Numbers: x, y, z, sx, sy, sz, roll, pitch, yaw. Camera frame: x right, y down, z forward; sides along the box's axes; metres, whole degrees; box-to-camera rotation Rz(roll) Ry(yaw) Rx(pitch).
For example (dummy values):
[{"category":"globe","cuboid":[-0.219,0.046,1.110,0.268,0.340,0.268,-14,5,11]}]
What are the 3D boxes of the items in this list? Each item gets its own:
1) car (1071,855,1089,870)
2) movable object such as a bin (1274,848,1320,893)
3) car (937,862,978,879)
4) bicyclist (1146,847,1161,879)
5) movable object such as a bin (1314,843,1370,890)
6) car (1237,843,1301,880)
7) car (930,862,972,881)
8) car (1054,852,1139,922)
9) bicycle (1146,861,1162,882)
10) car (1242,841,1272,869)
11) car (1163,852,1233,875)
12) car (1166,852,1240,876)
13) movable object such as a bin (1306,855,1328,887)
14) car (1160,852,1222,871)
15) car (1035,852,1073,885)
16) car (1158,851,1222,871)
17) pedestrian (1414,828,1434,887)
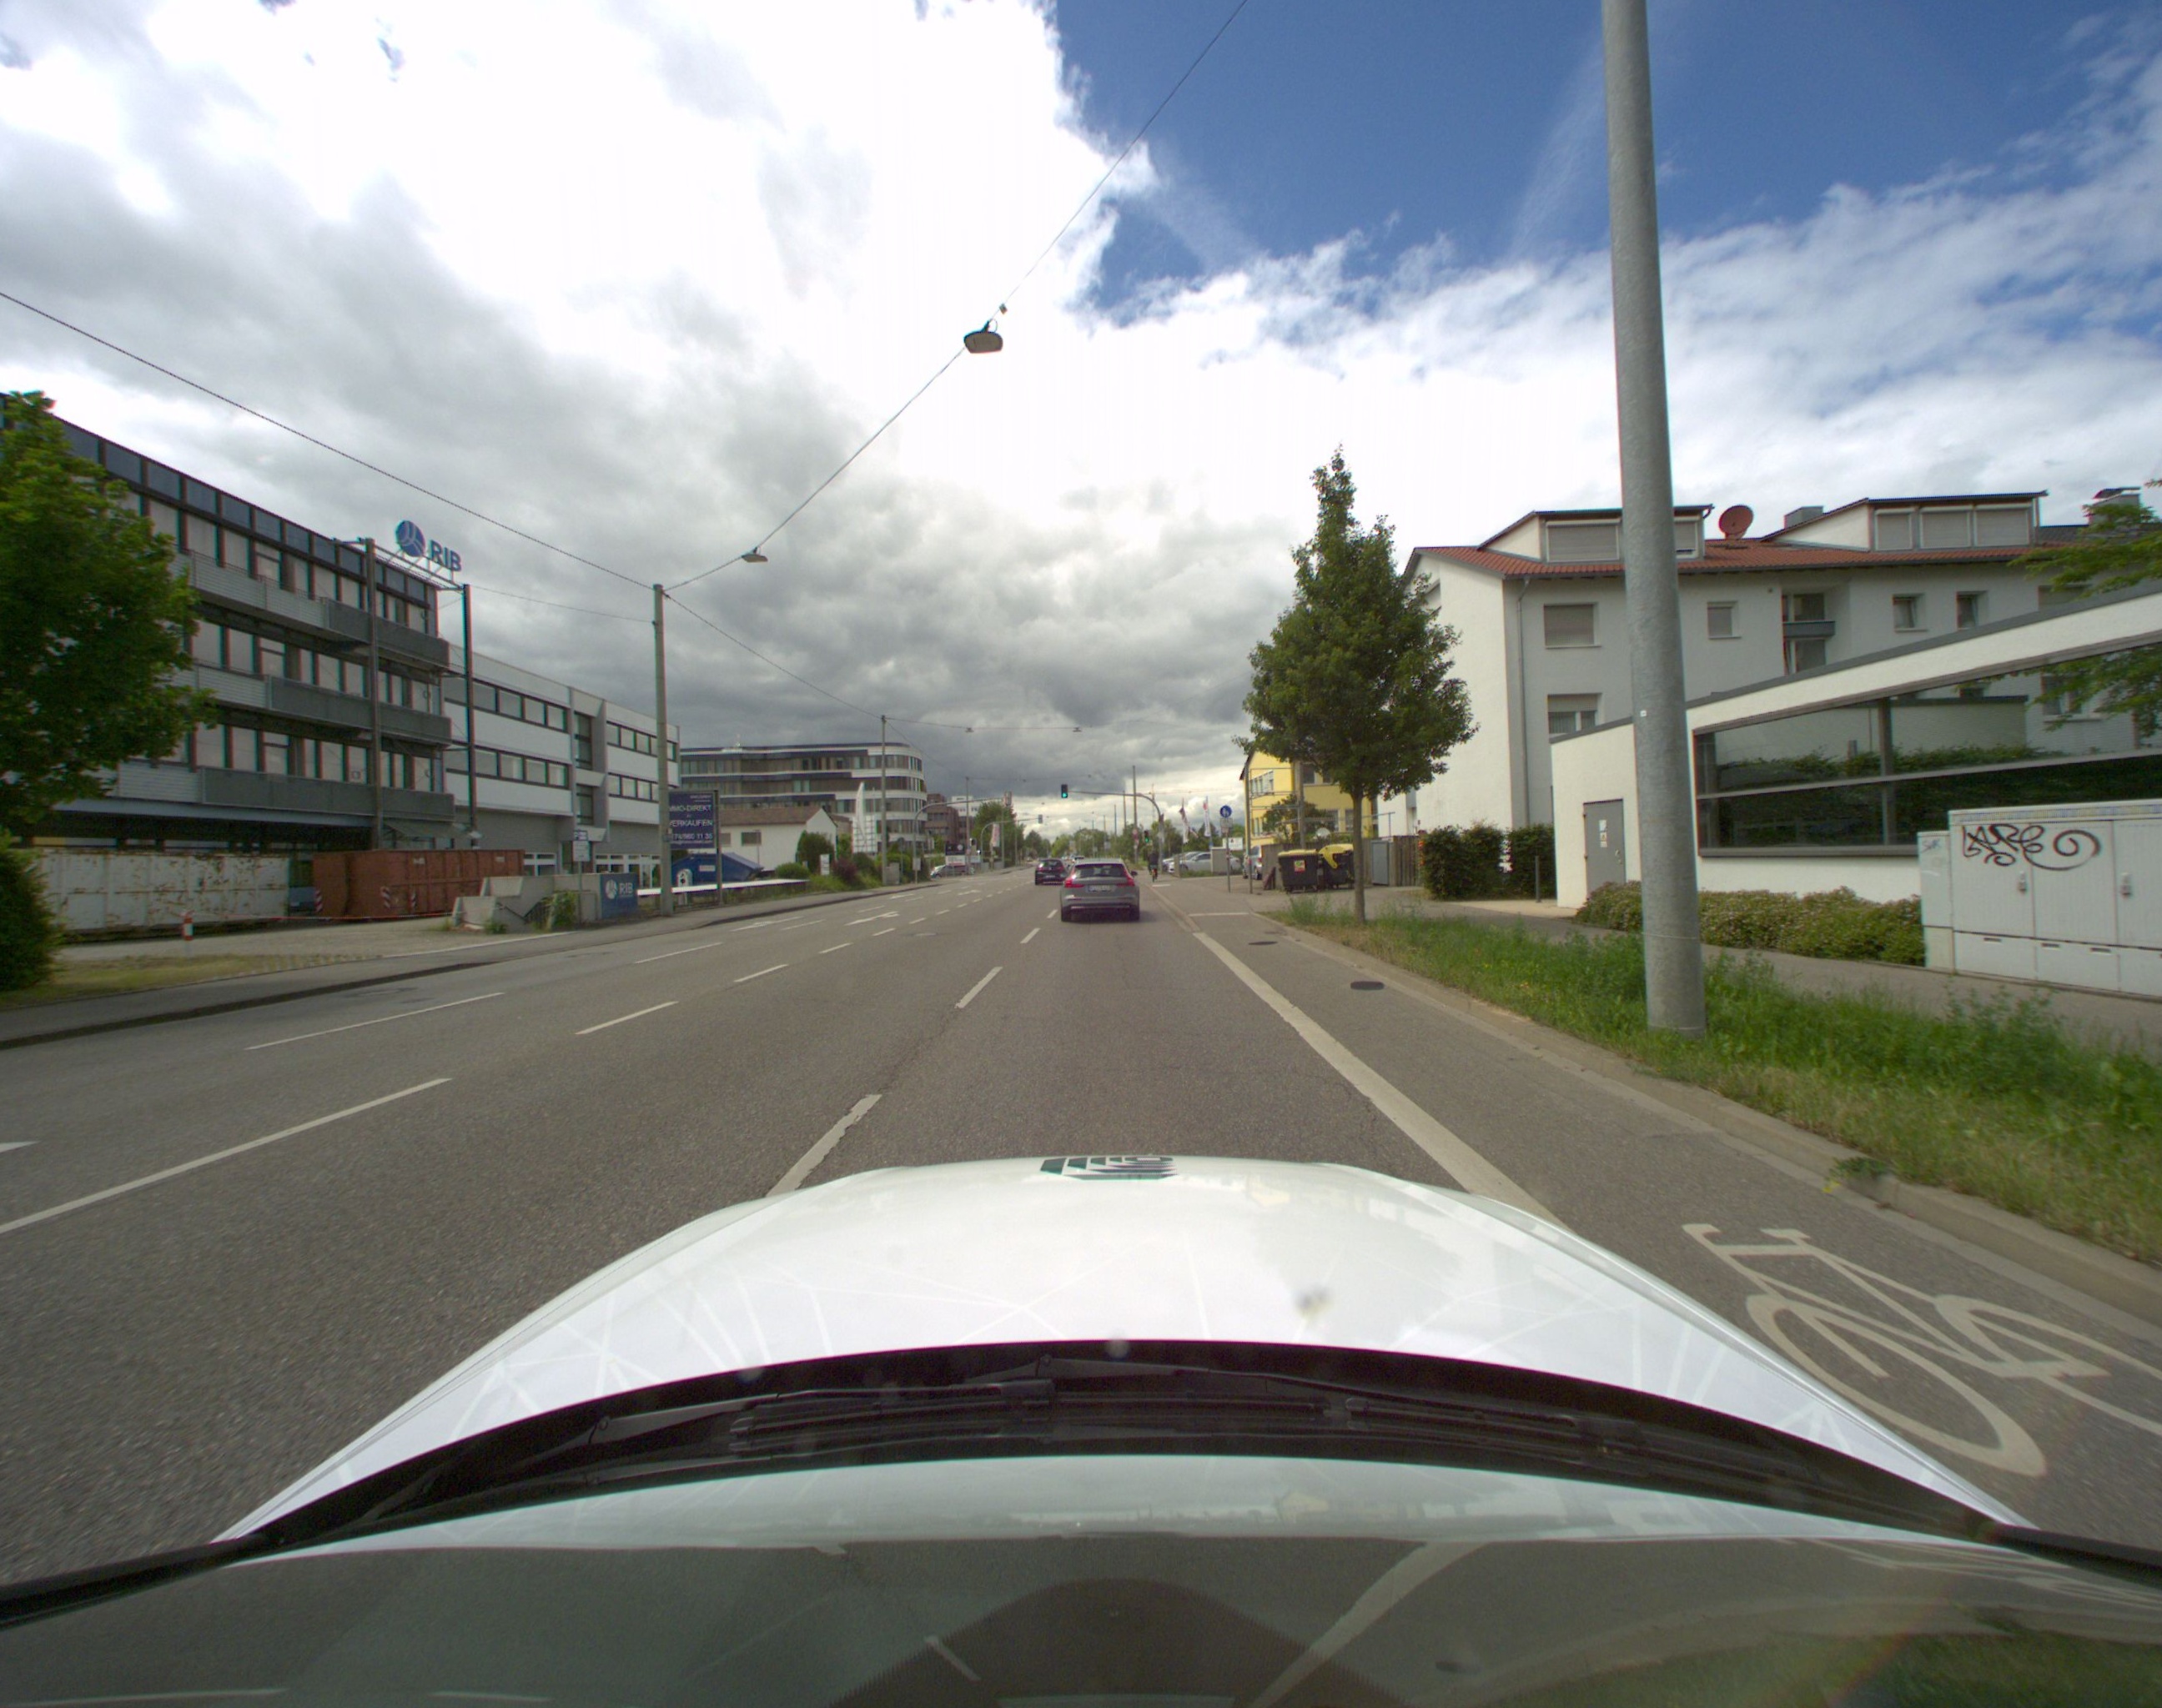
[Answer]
[{"category":"car","cuboid":[-0.123,1.001,93.346,1.987,1.695,4.000,0,-1,0]},{"category":"movable object such as a bin","cuboid":[6.887,0.520,25.901,1.308,1.361,1.257,-2,-2,17]},{"category":"car","cuboid":[-13.818,1.836,91.182,4.217,1.387,1.981,-8,-1,-5]},{"category":"bicyclist","cuboid":[3.880,0.481,43.649,0.636,1.675,0.890,-5,-1,1]},{"category":"movable object such as a bin","cuboid":[8.423,0.416,26.225,1.306,1.435,1.259,-3,-2,38]},{"category":"car","cuboid":[8.628,0.335,37.779,1.869,1.545,4.521,-2,0,0]},{"category":"car","cuboid":[-13.731,1.850,86.050,4.089,1.397,1.904,-8,1,-7]},{"category":"car","cuboid":[0.442,0.776,20.195,1.888,1.554,4.002,0,-1,3]},{"category":"bicycle","cuboid":[3.924,0.933,43.771,0.635,1.063,1.978,-5,0,1]},{"category":"car","cuboid":[12.435,0.136,57.772,1.963,1.821,5.045,-3,-1,11]},{"category":"car","cuboid":[8.270,0.640,57.875,4.643,1.493,2.035,-1,0,0]},{"category":"car","cuboid":[8.217,0.643,54.999,4.681,1.493,2.045,-1,0,0]},{"category":"movable object such as a bin","cuboid":[7.762,0.556,26.786,0.561,1.026,0.408,-3,-2,38]},{"category":"car","cuboid":[8.206,0.562,60.769,4.356,1.404,1.988,0,0,-1]},{"category":"car","cuboid":[-1.465,0.780,44.663,1.988,1.717,3.998,0,-1,-1]},{"category":"car","cuboid":[8.470,0.530,63.614,4.781,1.480,2.033,0,0,2]},{"category":"pedestrian","cuboid":[10.524,0.113,24.980,0.503,1.765,0.503,0,-1,17]}]
